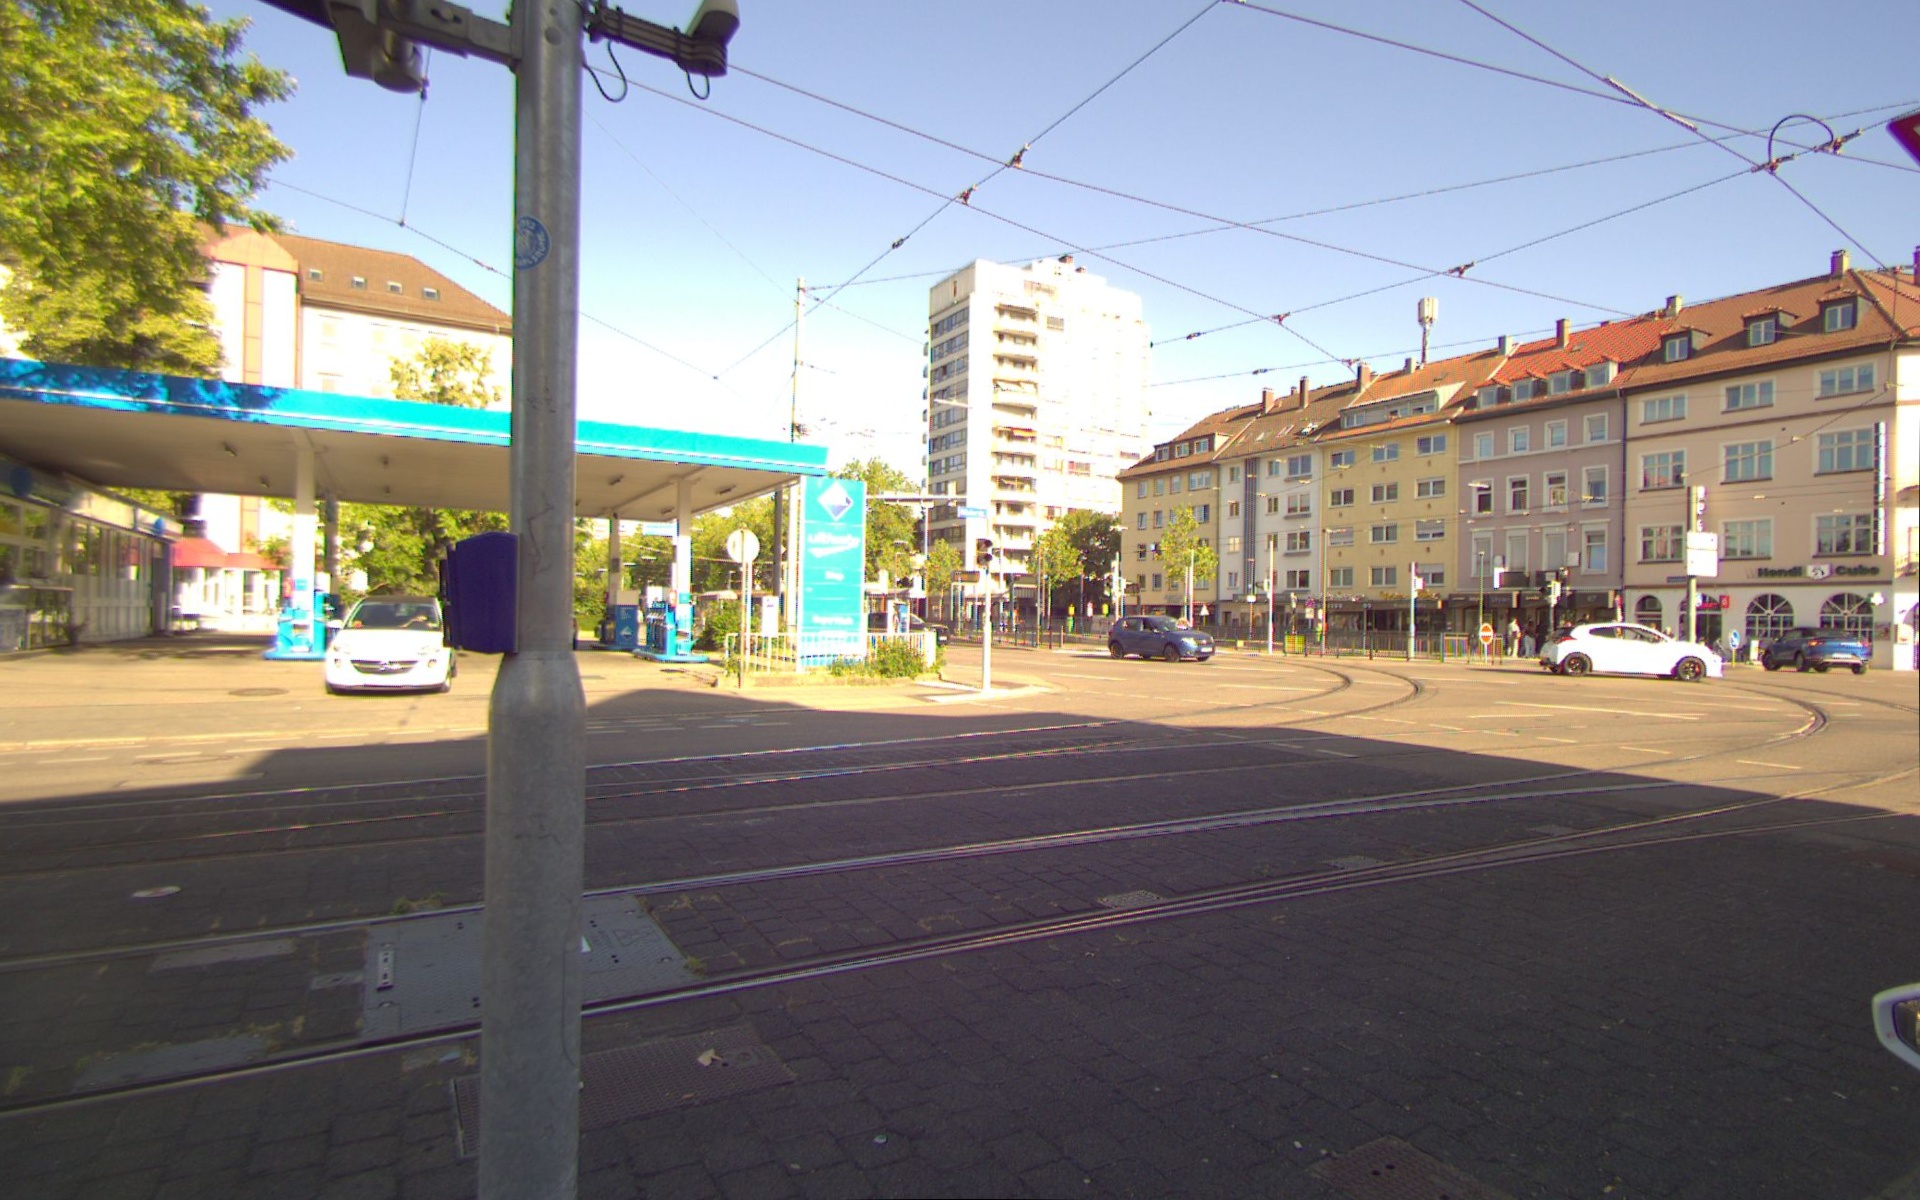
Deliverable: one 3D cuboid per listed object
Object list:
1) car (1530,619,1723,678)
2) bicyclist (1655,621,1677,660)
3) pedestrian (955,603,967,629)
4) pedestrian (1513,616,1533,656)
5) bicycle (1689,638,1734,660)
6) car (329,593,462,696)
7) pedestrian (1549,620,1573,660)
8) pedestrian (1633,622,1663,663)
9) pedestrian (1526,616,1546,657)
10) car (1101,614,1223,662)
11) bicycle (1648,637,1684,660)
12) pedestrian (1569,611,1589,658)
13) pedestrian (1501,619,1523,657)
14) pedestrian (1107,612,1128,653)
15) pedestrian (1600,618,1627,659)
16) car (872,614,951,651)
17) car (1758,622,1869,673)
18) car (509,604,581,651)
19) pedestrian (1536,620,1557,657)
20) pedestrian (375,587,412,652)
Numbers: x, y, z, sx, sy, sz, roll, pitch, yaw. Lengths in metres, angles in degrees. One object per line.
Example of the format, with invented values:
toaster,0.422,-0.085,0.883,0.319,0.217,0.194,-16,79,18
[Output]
car,17.600,1.240,26.744,3.930,1.473,1.898,0,-1,20
bicyclist,33.608,1.910,47.799,0.606,1.814,0.619,2,0,-25
pedestrian,0.097,1.292,83.365,0.729,2.127,0.880,2,0,-21
pedestrian,23.651,1.520,42.217,0.492,1.670,0.520,2,0,-30
bicycle,37.828,2.473,50.589,0.603,0.996,1.693,2,0,-29
car,-9.432,0.677,16.988,1.722,1.455,3.907,2,1,-27
pedestrian,25.667,1.708,42.881,0.719,1.670,0.570,2,0,-30
pedestrian,27.556,1.690,40.238,0.805,1.615,0.665,2,0,-30
pedestrian,23.904,1.526,41.700,0.492,1.670,0.520,2,0,-30
car,6.806,1.290,34.100,1.774,1.523,3.879,1,-2,-37
bicycle,33.610,2.302,47.811,1.731,1.044,0.619,2,0,-25
pedestrian,25.052,1.391,40.653,0.672,1.847,0.522,2,0,-45
pedestrian,24.292,1.668,44.235,0.609,1.670,0.581,2,0,-30
pedestrian,6.404,1.313,40.913,0.750,1.631,0.613,2,0,15
pedestrian,27.158,1.602,41.745,0.831,1.670,0.579,2,0,-30
car,-2.283,1.464,46.338,1.852,1.623,4.419,1,-2,-30
car,29.649,1.612,35.054,1.796,1.596,4.196,1,0,24
car,-13.526,0.859,32.641,1.659,1.372,3.559,2,0,-31
pedestrian,24.130,1.590,41.325,0.550,1.512,0.489,2,0,-30
pedestrian,-15.429,0.548,27.364,0.838,1.724,0.644,2,-3,-31
